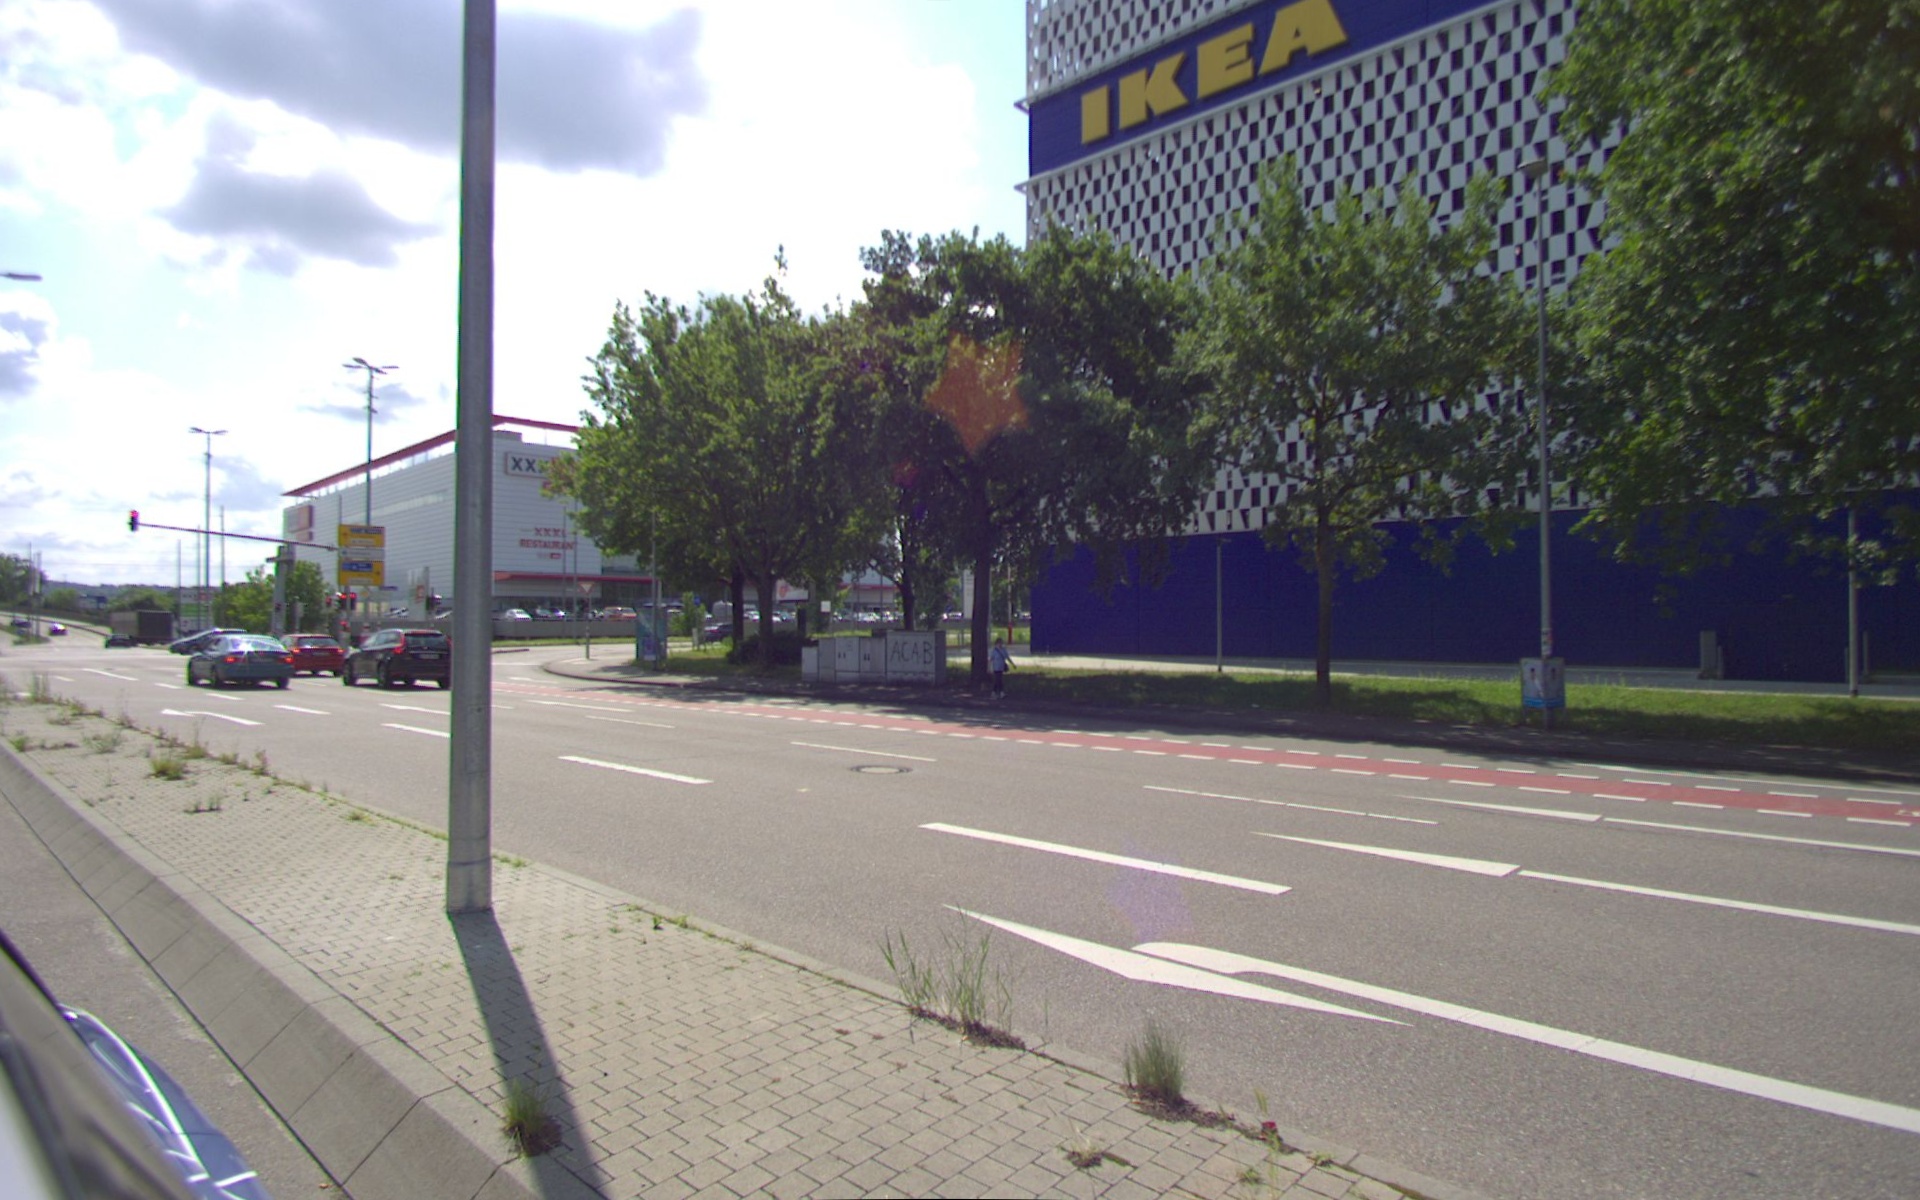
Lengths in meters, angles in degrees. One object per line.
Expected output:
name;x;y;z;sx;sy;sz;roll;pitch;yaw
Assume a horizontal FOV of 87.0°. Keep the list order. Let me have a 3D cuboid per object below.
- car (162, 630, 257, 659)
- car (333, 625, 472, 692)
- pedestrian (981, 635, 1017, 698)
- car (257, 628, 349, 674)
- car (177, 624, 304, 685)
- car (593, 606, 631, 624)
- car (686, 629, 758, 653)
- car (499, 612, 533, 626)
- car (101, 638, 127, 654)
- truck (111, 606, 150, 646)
car;-43.216;2.542;58.297;4.206;1.542;1.609;1;-2;-45
car;-16.083;1.649;29.091;4.819;1.769;1.907;-1;-4;41
pedestrian;0.985;1.680;25.697;0.760;1.567;0.497;-2;-2;42
car;-22.993;1.761;35.376;4.124;1.494;1.668;-1;-4;42
car;-19.945;1.478;27.978;4.819;1.560;1.754;-1;-4;41
car;-38.748;1.654;112.660;4.176;1.763;1.895;-3;-2;33
car;-16.250;2.750;69.198;1.896;1.567;4.522;-2;-2;43
car;-51.012;2.212;116.222;4.423;1.482;1.927;-3;-2;43
car;-84.494;4.602;101.083;1.753;1.489;4.683;0;-2;-43
truck;-90.592;2.906;110.633;3.171;4.058;9.087;-1;-2;-38
